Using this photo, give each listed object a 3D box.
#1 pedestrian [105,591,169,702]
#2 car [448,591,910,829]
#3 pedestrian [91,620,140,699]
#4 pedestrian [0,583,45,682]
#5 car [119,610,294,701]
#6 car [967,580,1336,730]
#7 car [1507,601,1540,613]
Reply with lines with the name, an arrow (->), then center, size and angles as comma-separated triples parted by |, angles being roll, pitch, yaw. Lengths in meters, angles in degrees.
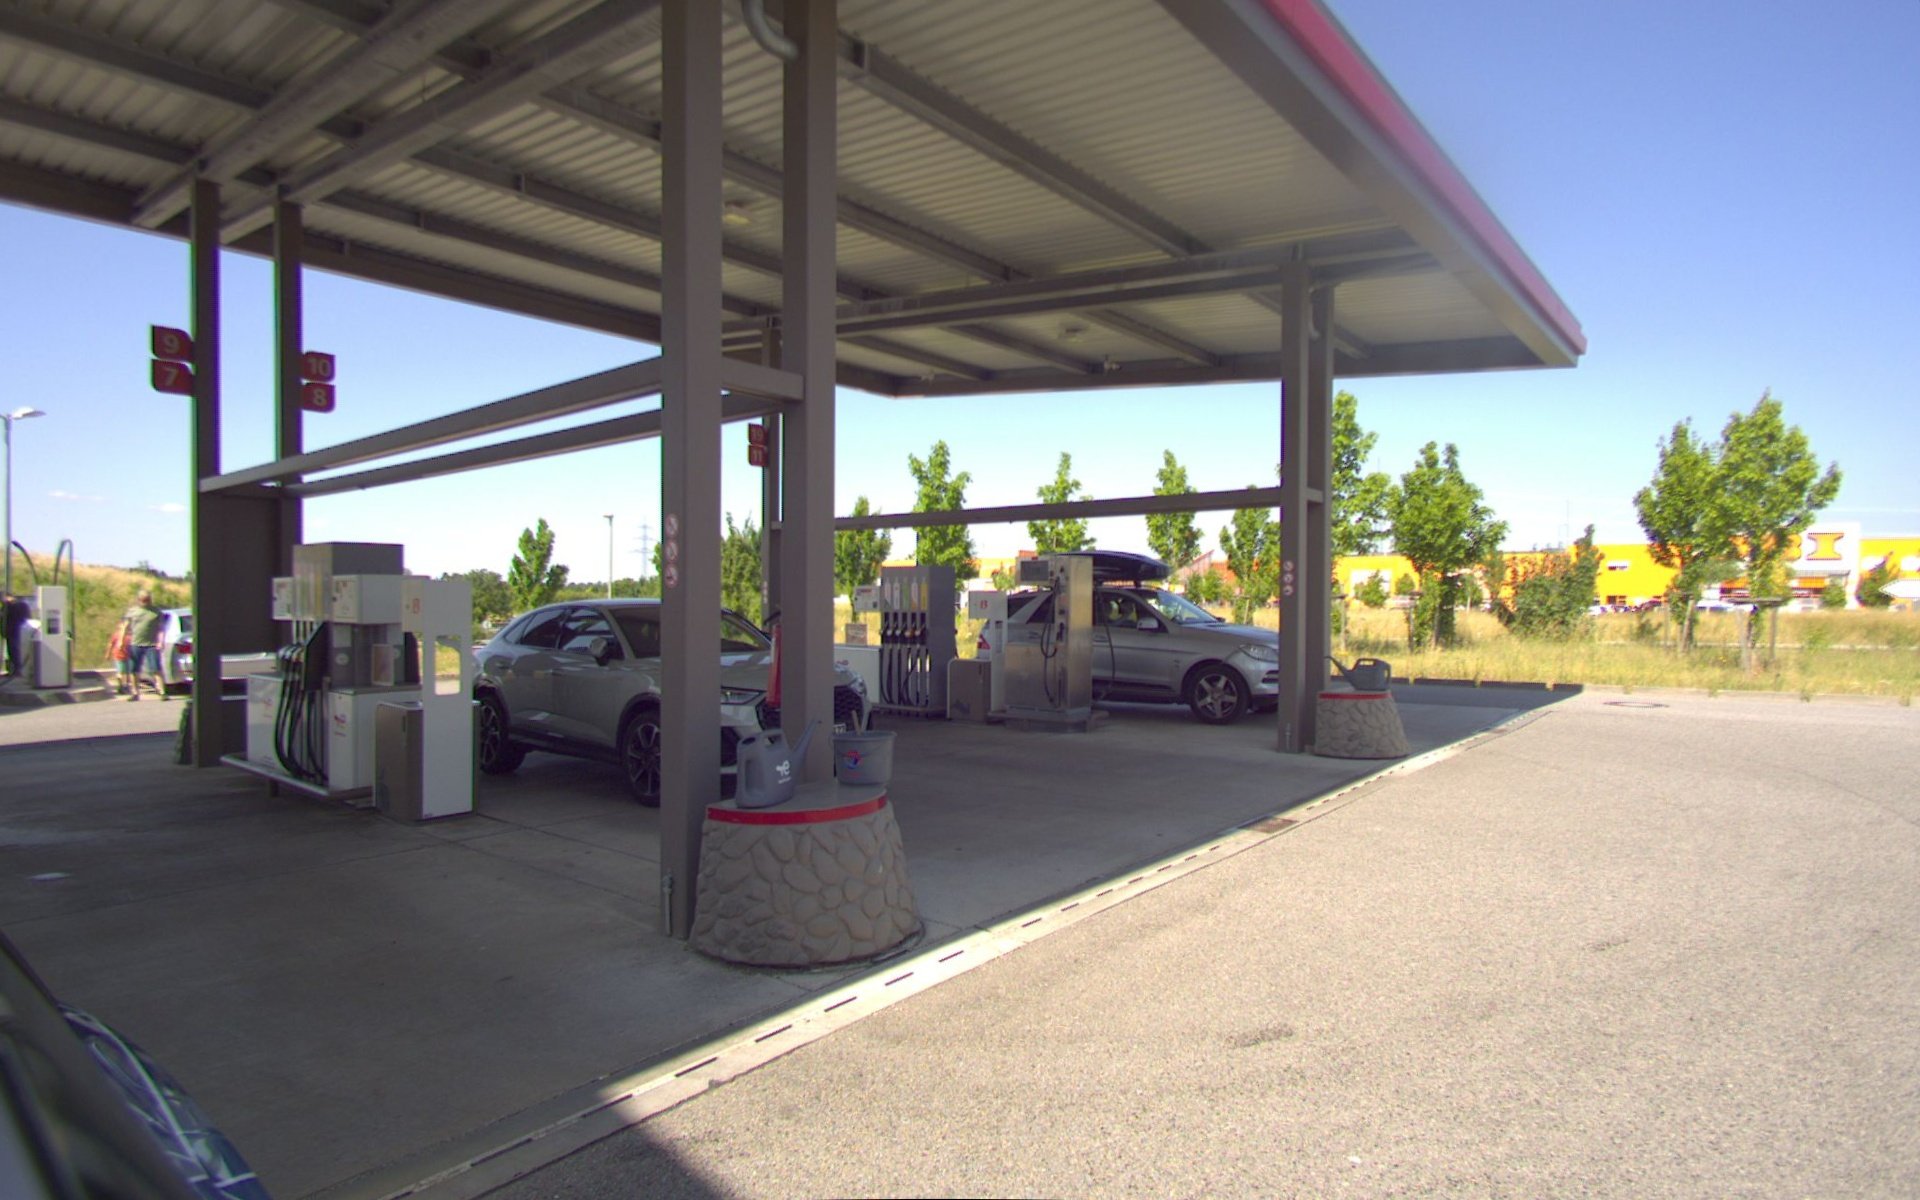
pedestrian -> -13.531, 0.749, 16.636 | 0.845, 1.762, 0.699 | -1, -1, 43
car -> -2.593, 0.747, 8.723 | 4.323, 1.553, 1.762 | -1, -1, 41
pedestrian -> -14.497, 1.004, 17.374 | 0.669, 1.316, 0.570 | -1, -1, 43
pedestrian -> -17.460, 0.586, 18.491 | 0.832, 1.783, 0.710 | 0, -1, -3
car -> -14.019, 0.931, 18.736 | 4.320, 1.439, 1.768 | 1, 0, 42
car -> 2.458, 0.656, 13.577 | 4.528, 1.700, 1.842 | -1, -1, 37
car -> 63.132, 0.793, 113.327 | 2.945, 1.309, 1.465 | -1, -1, 43
